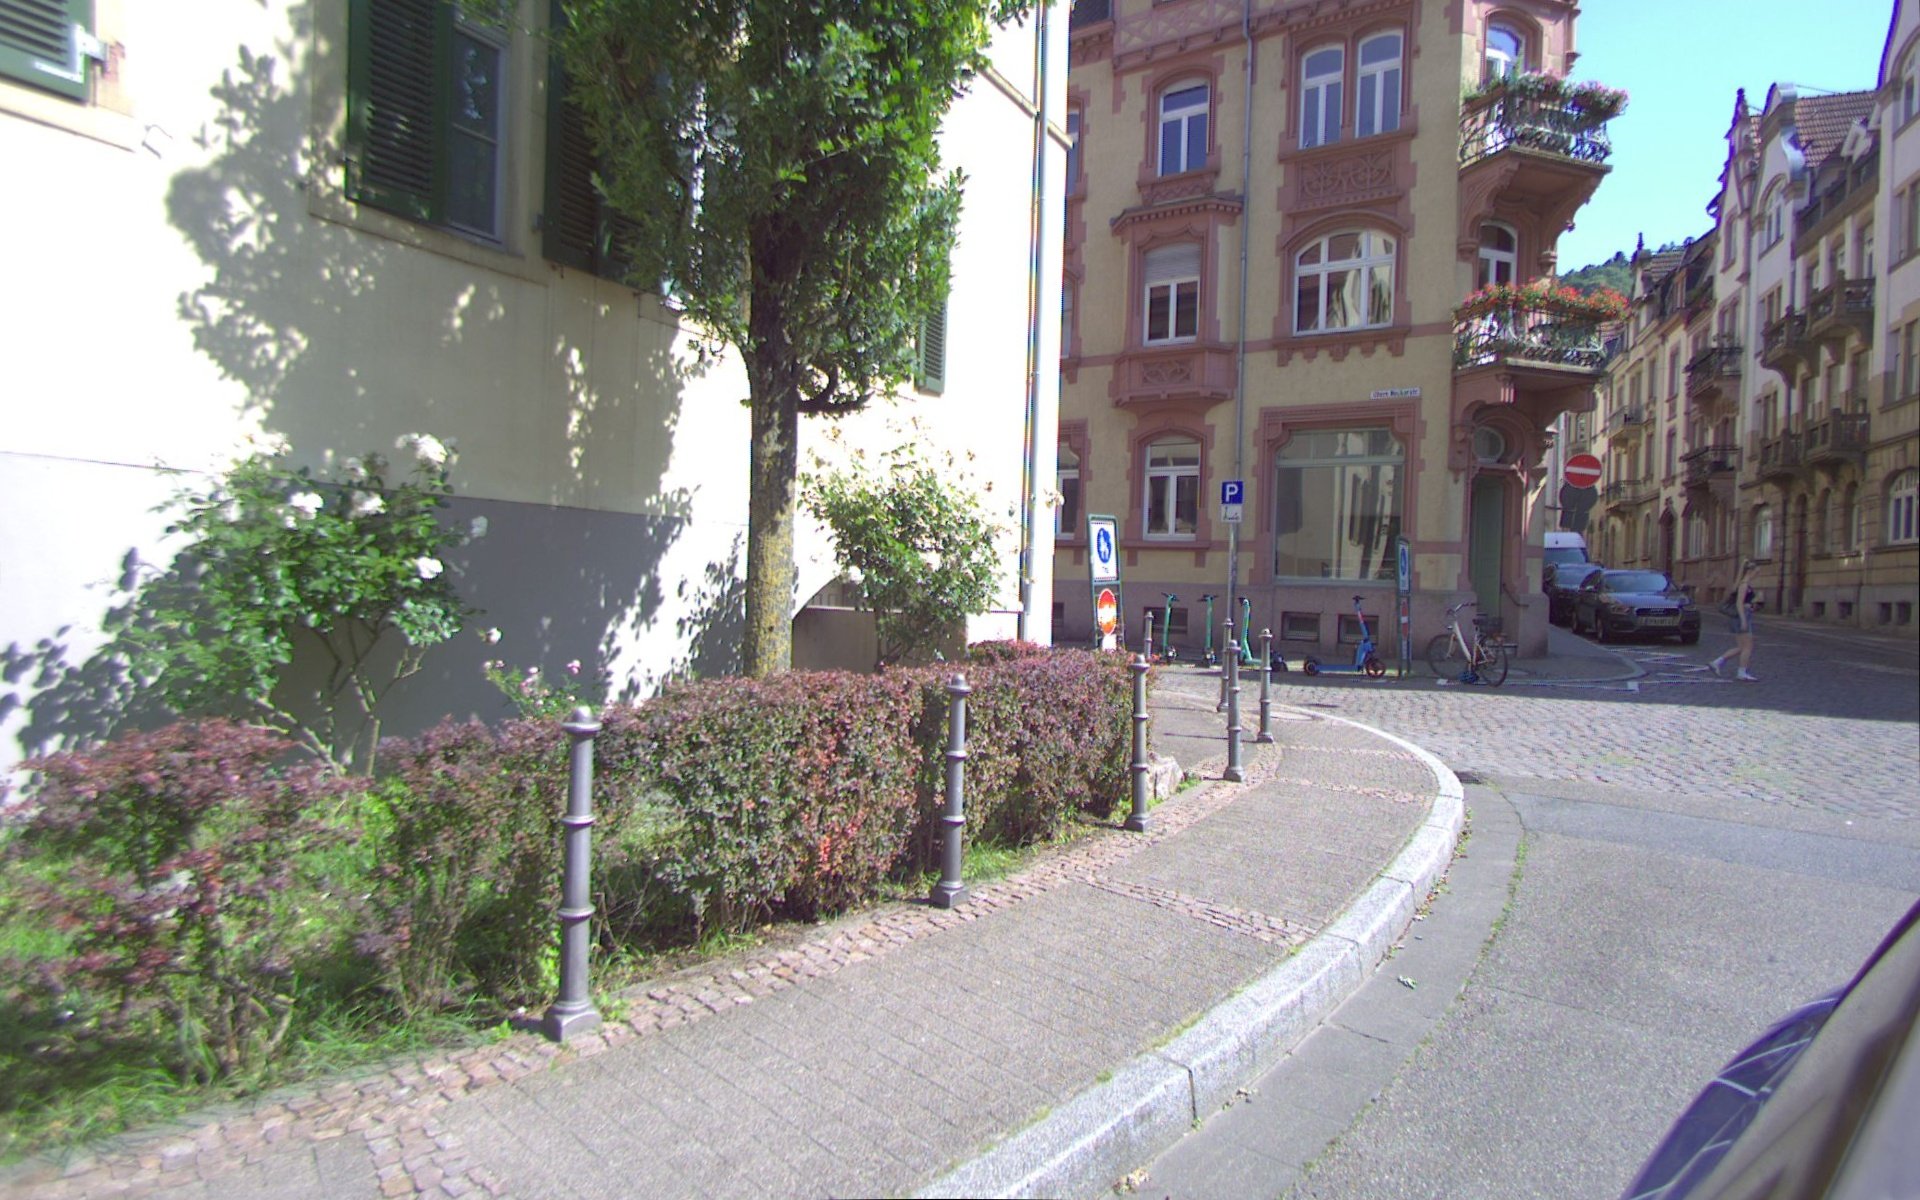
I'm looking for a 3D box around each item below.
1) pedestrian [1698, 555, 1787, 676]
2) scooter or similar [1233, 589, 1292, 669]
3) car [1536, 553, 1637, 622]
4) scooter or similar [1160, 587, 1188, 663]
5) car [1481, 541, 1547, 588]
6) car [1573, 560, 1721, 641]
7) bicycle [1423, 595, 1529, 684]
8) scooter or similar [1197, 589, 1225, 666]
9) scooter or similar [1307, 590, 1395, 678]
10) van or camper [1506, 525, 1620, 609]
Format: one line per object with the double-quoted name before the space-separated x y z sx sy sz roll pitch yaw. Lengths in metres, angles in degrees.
"pedestrian" 11.924 0.207 15.452 0.973 1.779 0.616 1 4 32
"scooter or similar" 4.868 0.446 16.353 0.335 1.224 1.193 1 1 -13
"car" 17.064 -0.404 27.733 1.742 1.726 3.971 -1 2 23
"scooter or similar" 3.611 0.404 17.080 0.336 1.224 1.188 2 1 7
"car" 24.464 -1.546 44.796 1.976 1.940 3.972 2 1 21
"car" 15.247 -0.071 22.709 1.840 1.602 4.231 0 2 22
"bicycle" 7.556 0.545 14.906 0.495 1.160 1.795 2 2 -4
"scooter or similar" 4.182 0.437 16.877 0.407 1.224 1.230 2 1 13
"scooter or similar" 5.817 0.487 15.110 1.175 1.250 0.439 2 1 20
"van or camper" 20.260 -1.211 34.344 2.201 2.550 6.722 2 4 22
